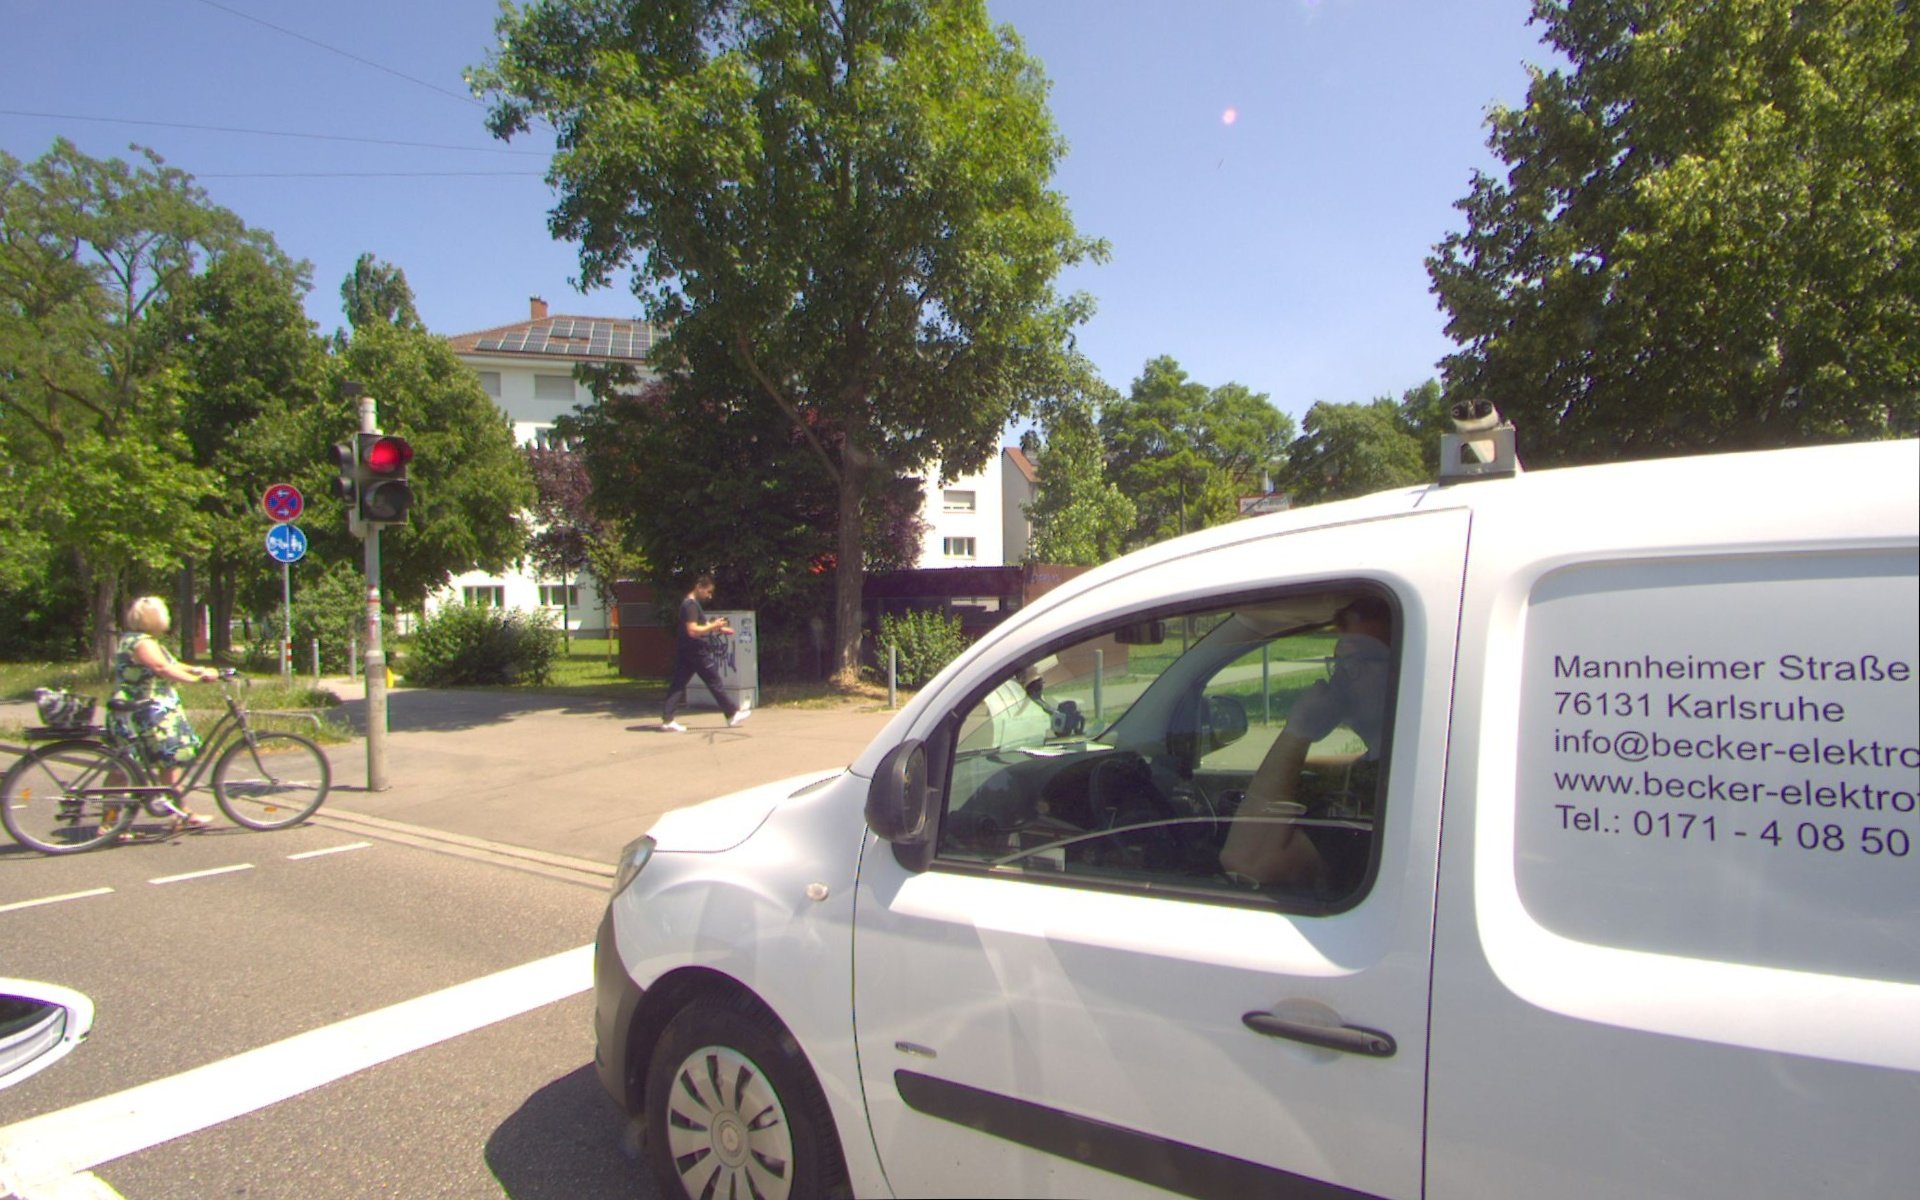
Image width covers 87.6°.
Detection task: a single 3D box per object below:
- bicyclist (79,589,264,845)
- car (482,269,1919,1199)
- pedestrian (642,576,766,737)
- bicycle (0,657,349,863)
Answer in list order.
[{"bbox_3d":[-5.617,0.781,7.150,0.574,1.689,0.952,0,0,42],"label":"bicyclist"},{"bbox_3d":[1.120,0.565,2.302,4.384,1.850,1.990,-1,0,32],"label":"car"},{"bbox_3d":[-3.070,0.640,12.019,1.173,1.801,0.834,-2,1,-35],"label":"pedestrian"},{"bbox_3d":[-5.448,1.026,6.995,0.535,1.176,1.947,0,0,42],"label":"bicycle"}]
